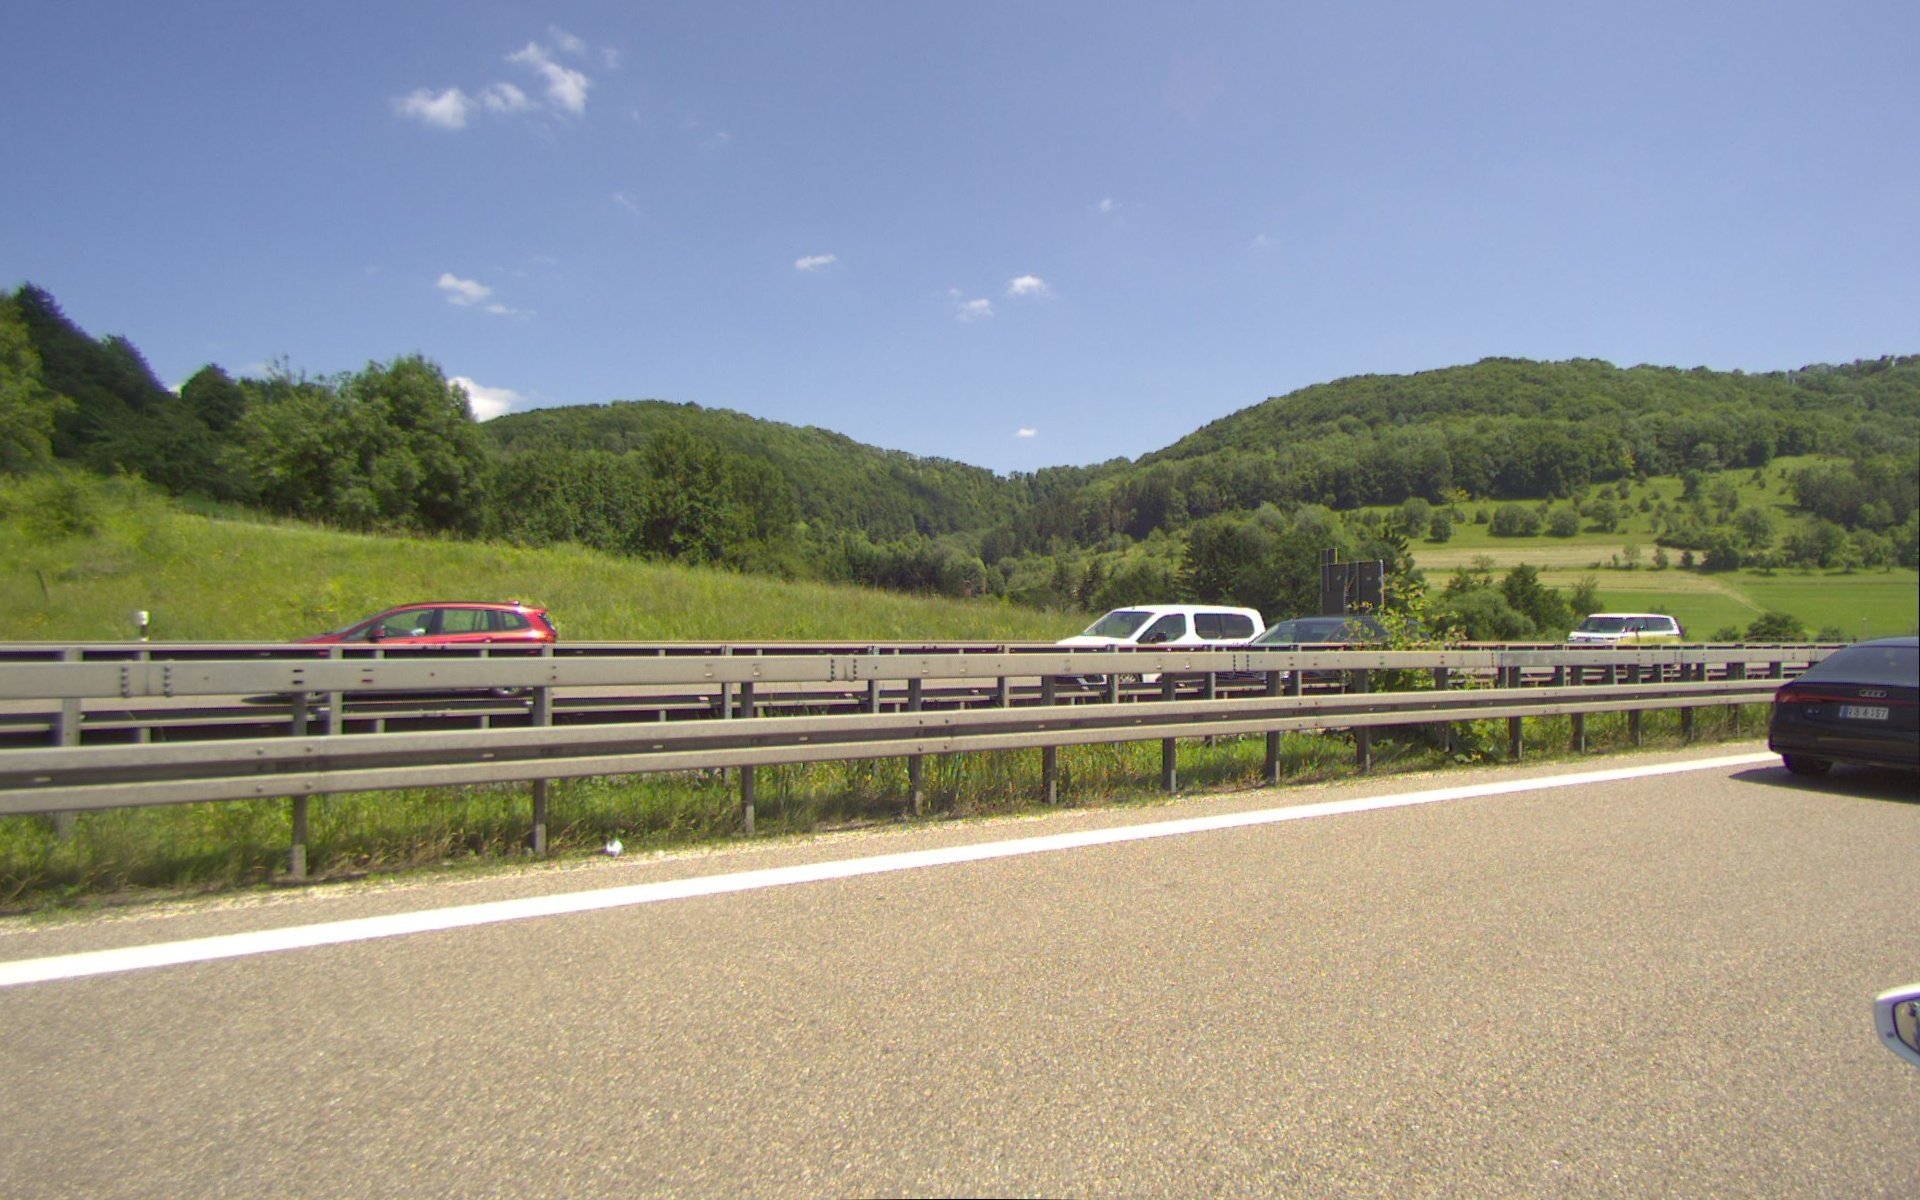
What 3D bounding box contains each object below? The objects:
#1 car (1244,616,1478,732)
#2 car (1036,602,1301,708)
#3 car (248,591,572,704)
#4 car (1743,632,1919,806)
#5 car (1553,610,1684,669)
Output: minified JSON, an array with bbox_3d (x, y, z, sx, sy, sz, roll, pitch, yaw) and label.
[{"bbox_3d":[6.949,1.197,17.336,3.888,1.785,1.747,1,-1,-30],"label":"car"},{"bbox_3d":[4.187,1.032,19.891,5.165,1.863,1.984,1,-1,-30],"label":"car"},{"bbox_3d":[-9.013,0.756,16.761,4.492,1.666,1.816,1,-1,-30],"label":"car"},{"bbox_3d":[9.851,1.047,9.843,4.912,1.409,1.792,1,-1,-31],"label":"car"},{"bbox_3d":[23.231,1.372,35.392,4.606,1.967,2.050,1,-1,-30],"label":"car"}]
